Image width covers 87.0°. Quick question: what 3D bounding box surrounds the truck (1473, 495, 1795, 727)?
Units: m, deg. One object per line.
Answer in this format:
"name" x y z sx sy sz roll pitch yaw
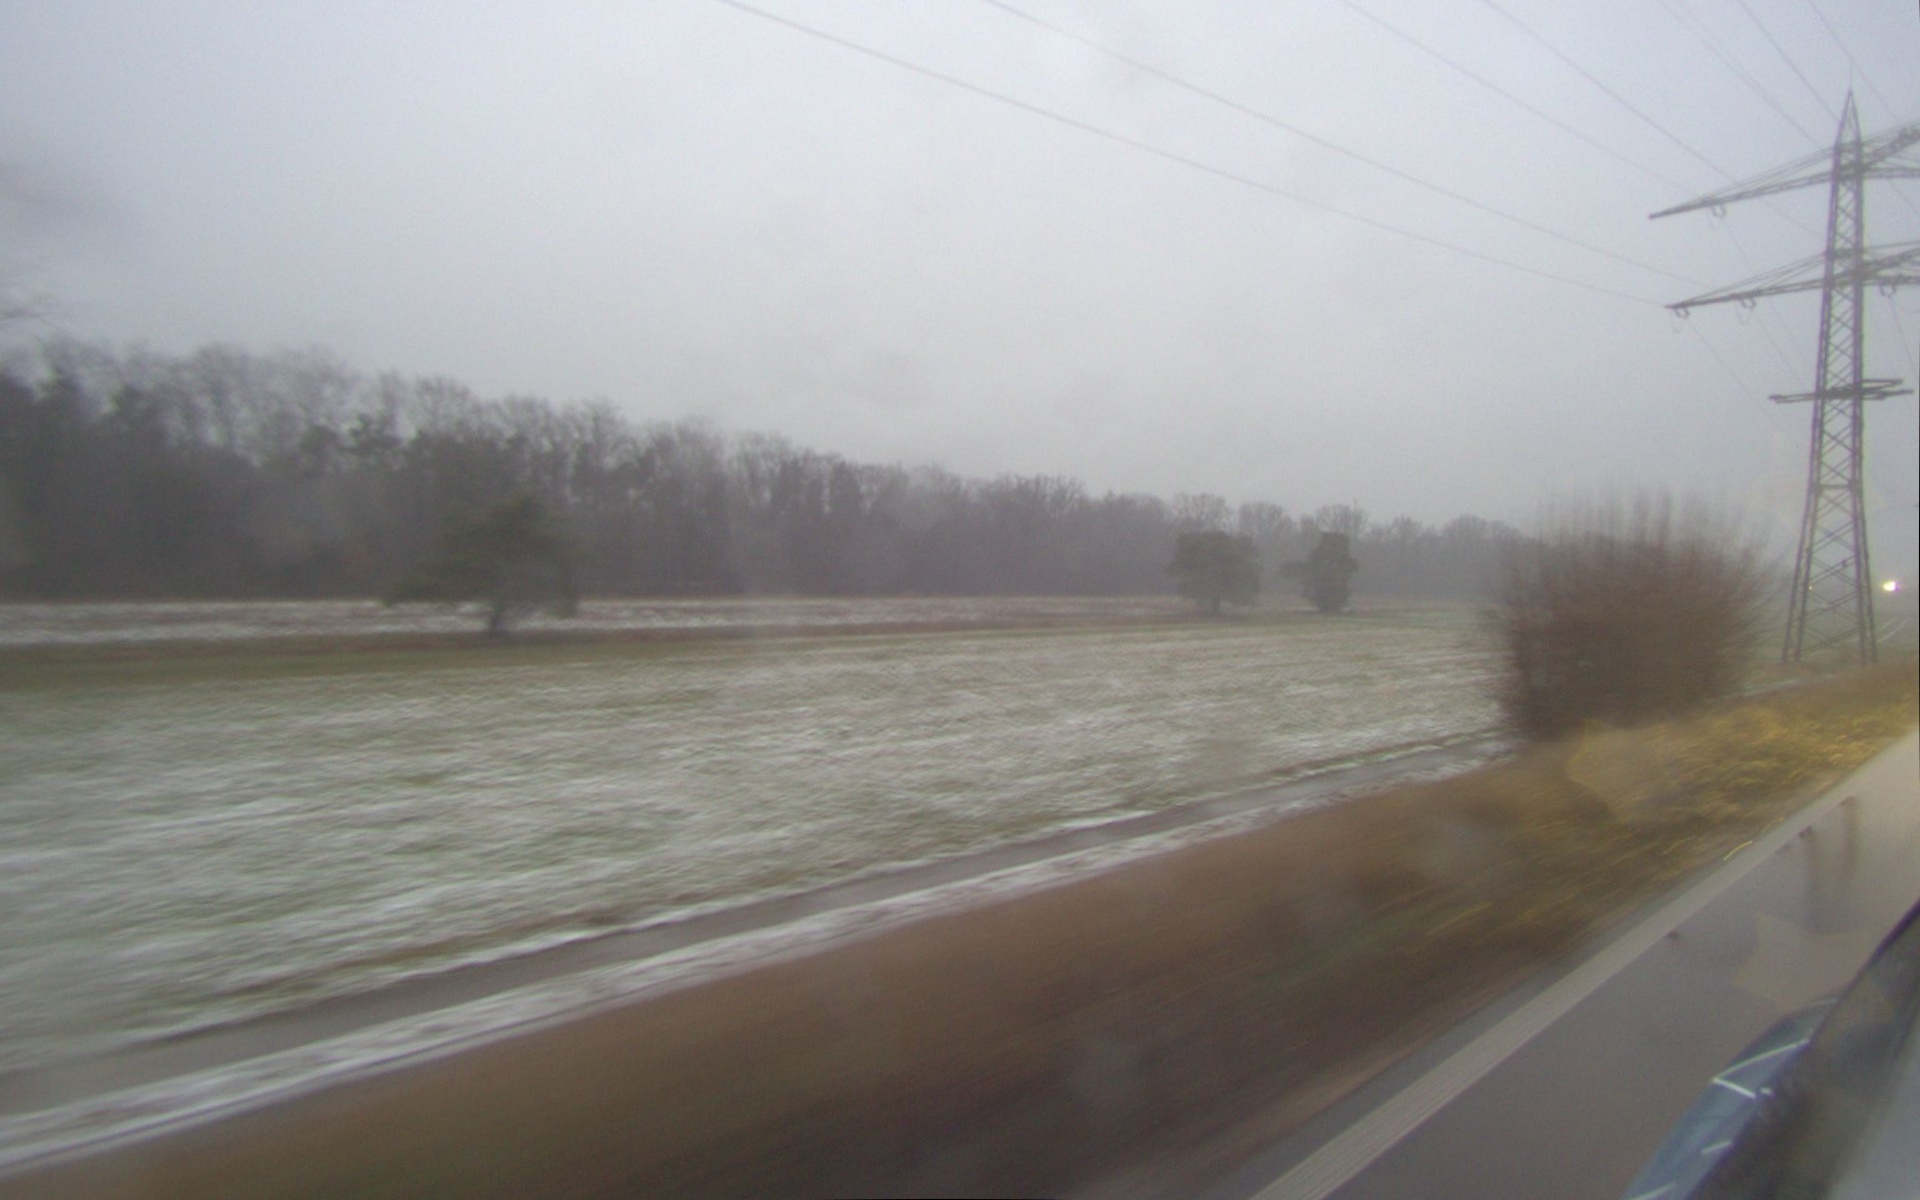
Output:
"truck" 11.375 0.106 16.707 7.721 3.015 2.538 0 0 -41
